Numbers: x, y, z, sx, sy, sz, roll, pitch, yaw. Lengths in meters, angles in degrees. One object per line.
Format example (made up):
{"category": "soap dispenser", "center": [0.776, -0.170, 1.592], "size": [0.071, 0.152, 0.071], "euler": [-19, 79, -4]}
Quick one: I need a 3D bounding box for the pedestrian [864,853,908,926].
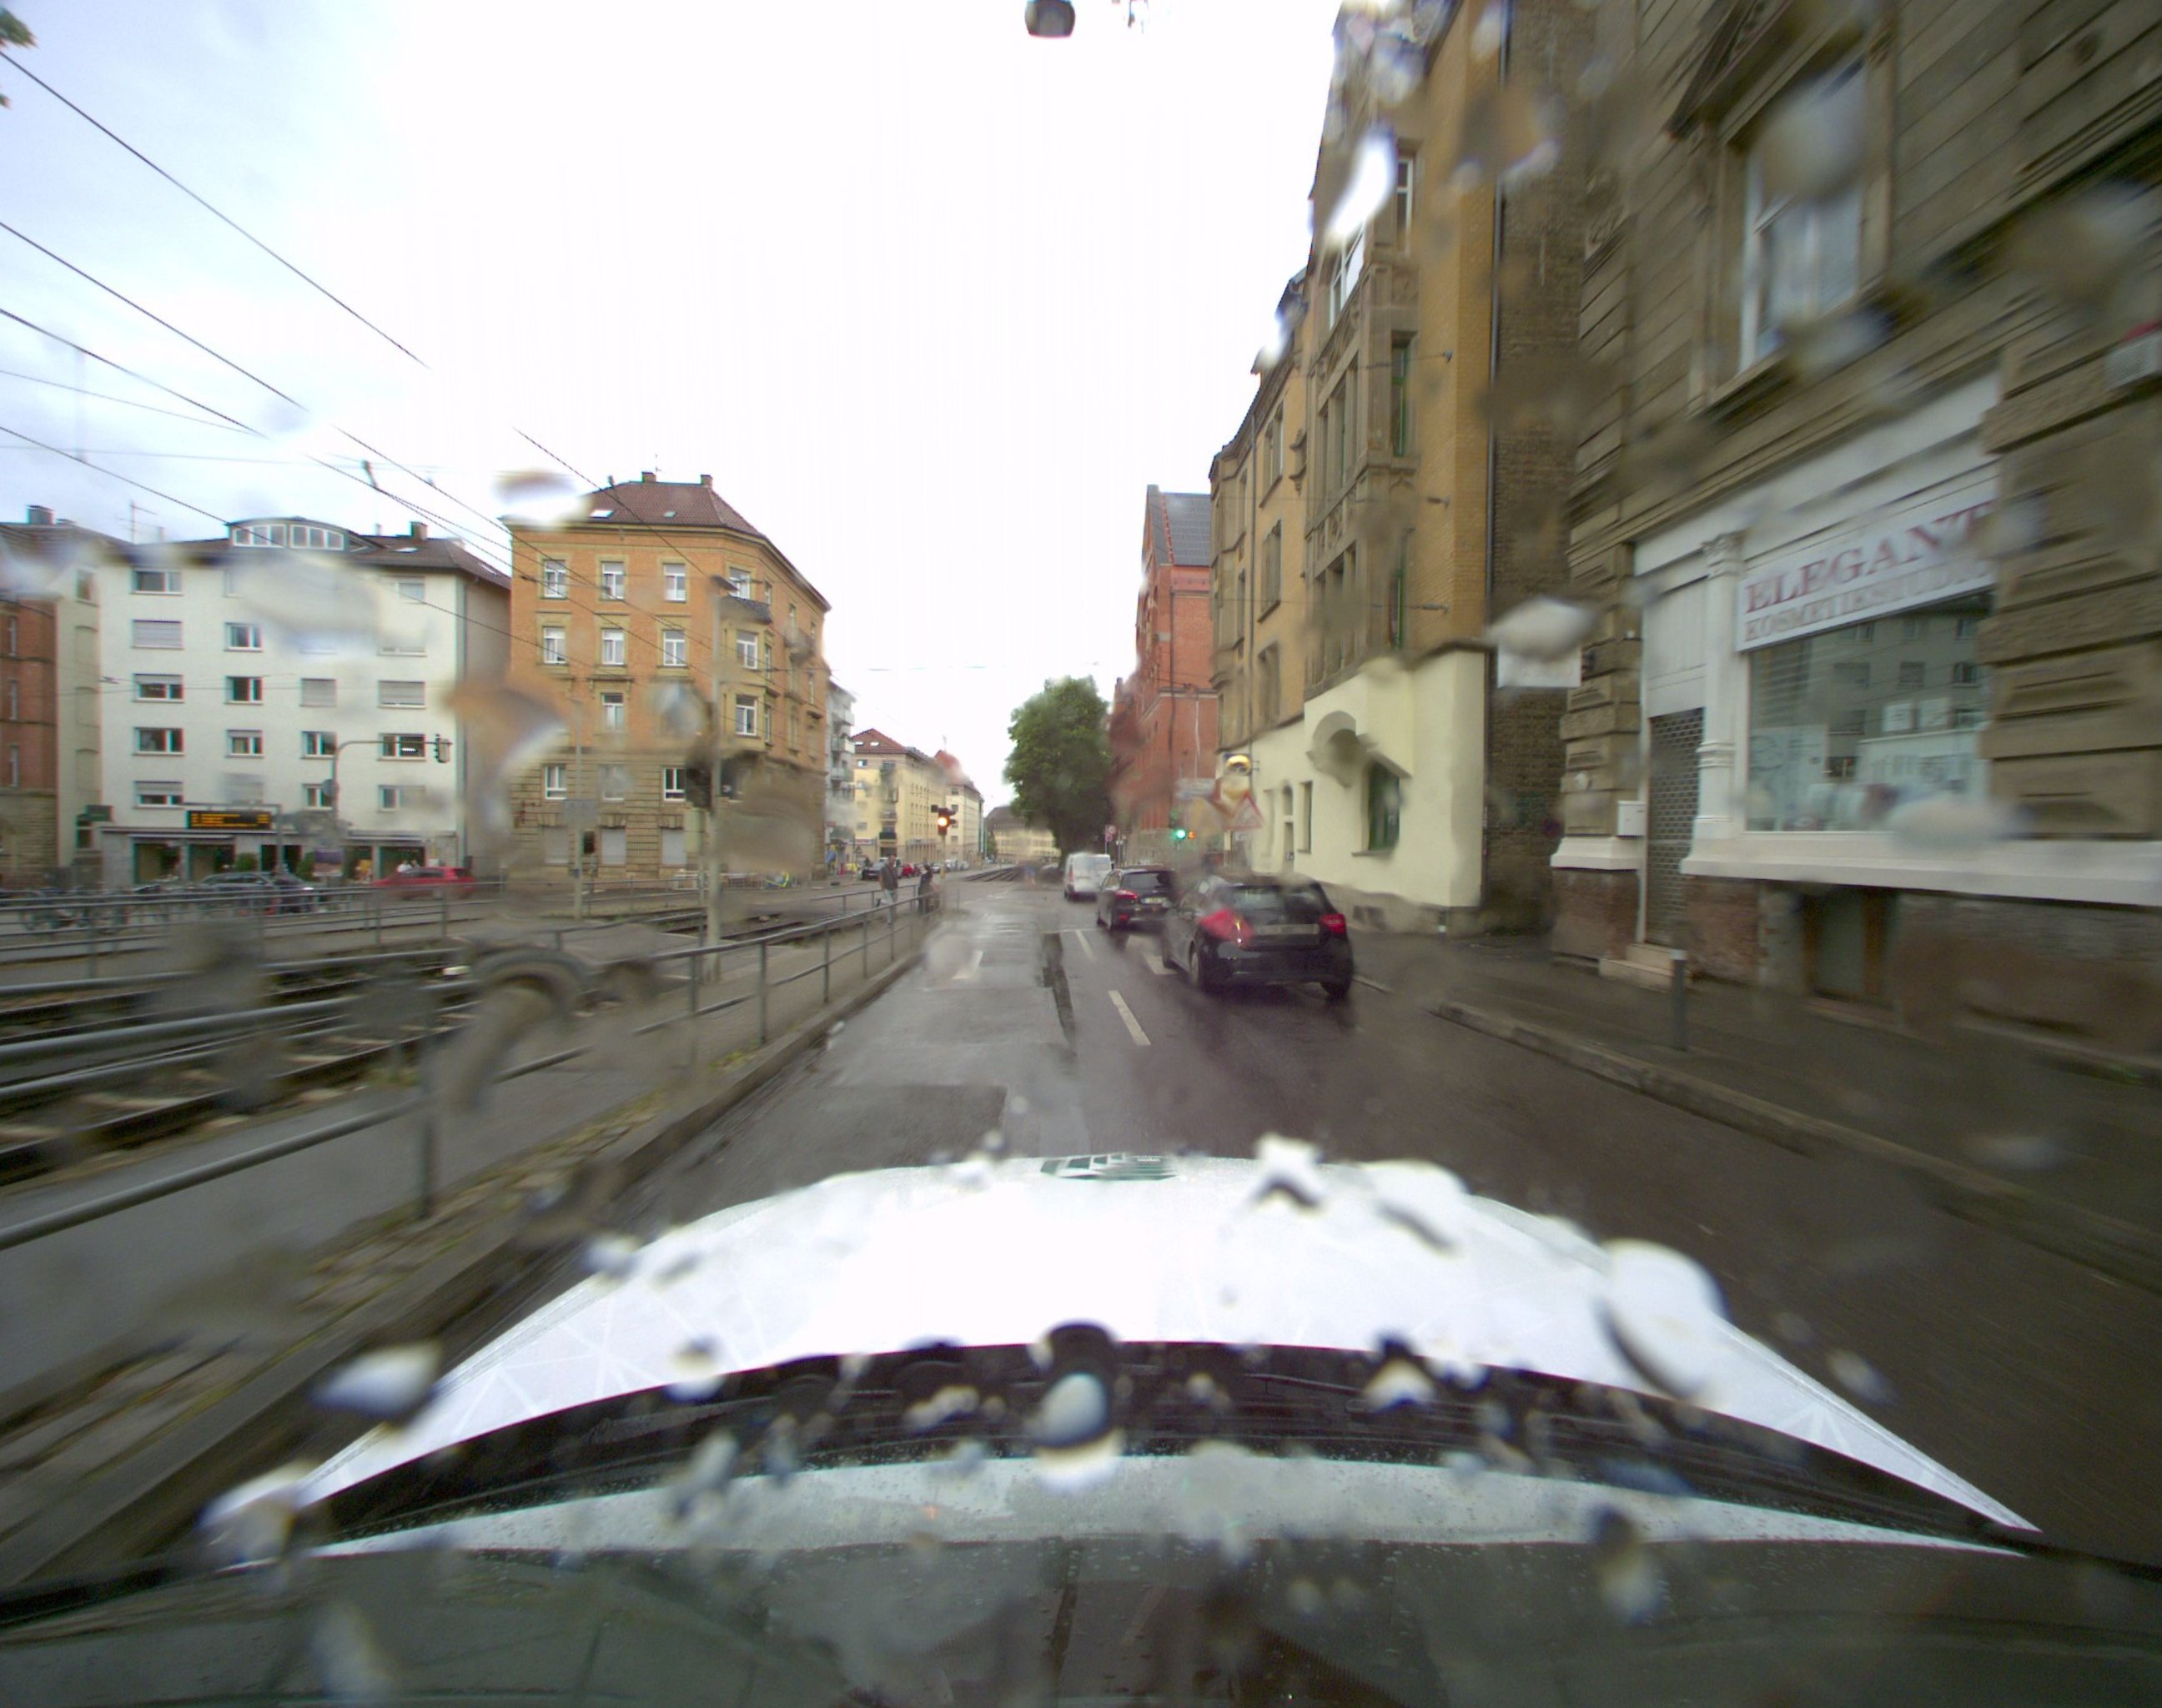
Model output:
{"category": "pedestrian", "center": [-4.732, 0.850, 19.745], "size": [0.732, 1.724, 0.745], "euler": [-1, -1, 44]}

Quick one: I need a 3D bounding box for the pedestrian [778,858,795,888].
{"category": "pedestrian", "center": [-16.317, 1.035, 45.084], "size": [0.675, 1.661, 0.677], "euler": [-1, -1, 4]}

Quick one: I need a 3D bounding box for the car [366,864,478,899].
{"category": "car", "center": [-29.880, 1.238, 37.033], "size": [3.595, 1.489, 1.682], "euler": [0, -1, -5]}

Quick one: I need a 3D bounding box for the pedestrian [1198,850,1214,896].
{"category": "pedestrian", "center": [3.484, 0.536, 22.704], "size": [0.411, 1.271, 0.292], "euler": [0, -1, 3]}

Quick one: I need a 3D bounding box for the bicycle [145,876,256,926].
{"category": "bicycle", "center": [-20.693, 1.094, 19.169], "size": [1.769, 1.142, 0.515], "euler": [0, -1, -14]}

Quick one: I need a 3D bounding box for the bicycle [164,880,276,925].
{"category": "bicycle", "center": [-20.932, 1.165, 19.835], "size": [1.873, 1.065, 0.515], "euler": [0, -1, -14]}

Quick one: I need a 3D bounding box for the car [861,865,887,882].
{"category": "car", "center": [-17.217, 1.642, 67.891], "size": [1.449, 1.318, 3.291], "euler": [1, 0, -3]}

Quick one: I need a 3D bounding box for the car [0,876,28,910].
{"category": "car", "center": [-50.033, 1.760, 36.570], "size": [3.153, 1.489, 1.419], "euler": [1, 0, -12]}

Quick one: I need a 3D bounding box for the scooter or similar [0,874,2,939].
{"category": "scooter or similar", "center": [-20.404, 0.967, 14.600], "size": [0.295, 1.195, 1.259], "euler": [0, -1, 37]}

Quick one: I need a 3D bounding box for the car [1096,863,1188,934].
{"category": "car", "center": [1.310, 0.950, 19.120], "size": [1.709, 1.469, 4.277], "euler": [0, -1, -2]}

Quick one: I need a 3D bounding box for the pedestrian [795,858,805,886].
{"category": "pedestrian", "center": [-16.573, 1.043, 48.011], "size": [0.519, 1.666, 0.474], "euler": [0, -1, -18]}

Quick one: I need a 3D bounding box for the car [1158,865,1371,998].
{"category": "car", "center": [2.140, 0.854, 10.643], "size": [1.889, 1.390, 3.999], "euler": [0, -1, 0]}

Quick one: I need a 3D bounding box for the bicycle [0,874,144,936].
{"category": "bicycle", "center": [-20.031, 0.996, 16.181], "size": [1.873, 1.195, 0.515], "euler": [0, -1, -14]}

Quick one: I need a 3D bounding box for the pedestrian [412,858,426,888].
{"category": "pedestrian", "center": [-35.065, 1.002, 43.141], "size": [0.520, 1.622, 0.480], "euler": [1, -1, -42]}

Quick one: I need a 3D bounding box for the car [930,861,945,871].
{"category": "car", "center": [-18.795, 1.561, 106.747], "size": [1.391, 1.171, 3.159], "euler": [0, -1, -2]}

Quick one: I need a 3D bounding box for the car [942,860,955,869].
{"category": "car", "center": [-19.196, 1.531, 118.019], "size": [1.391, 1.171, 3.159], "euler": [0, -1, -2]}

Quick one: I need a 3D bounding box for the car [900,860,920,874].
{"category": "car", "center": [-17.867, 1.357, 85.047], "size": [1.496, 1.356, 3.159], "euler": [0, -1, -2]}

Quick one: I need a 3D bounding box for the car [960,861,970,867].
{"category": "car", "center": [-20.151, 1.727, 141.742], "size": [1.391, 1.171, 3.159], "euler": [0, -1, -2]}

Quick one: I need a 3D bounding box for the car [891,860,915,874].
{"category": "car", "center": [-17.658, 1.285, 80.819], "size": [1.676, 1.356, 3.700], "euler": [0, -1, -2]}

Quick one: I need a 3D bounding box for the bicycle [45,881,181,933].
{"category": "bicycle", "center": [-20.351, 1.101, 17.162], "size": [1.873, 1.062, 0.515], "euler": [0, -1, -14]}

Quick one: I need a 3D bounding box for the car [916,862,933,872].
{"category": "car", "center": [-18.007, 1.504, 93.633], "size": [1.433, 1.106, 3.159], "euler": [0, -1, -2]}

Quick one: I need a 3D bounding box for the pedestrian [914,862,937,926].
{"category": "pedestrian", "center": [-3.765, 0.953, 19.698], "size": [0.531, 1.530, 0.435], "euler": [0, -1, -10]}

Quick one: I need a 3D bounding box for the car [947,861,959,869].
{"category": "car", "center": [-19.537, 1.677, 124.681], "size": [1.391, 1.171, 3.159], "euler": [0, -1, -2]}

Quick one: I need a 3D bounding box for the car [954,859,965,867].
{"category": "car", "center": [-19.988, 1.491, 133.678], "size": [1.391, 1.171, 3.159], "euler": [0, -1, -2]}

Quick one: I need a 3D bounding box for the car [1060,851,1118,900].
{"category": "car", "center": [0.254, 0.834, 32.962], "size": [1.930, 1.831, 4.273], "euler": [0, 0, -5]}

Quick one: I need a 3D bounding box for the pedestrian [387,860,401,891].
{"category": "pedestrian", "center": [-35.946, 1.121, 42.628], "size": [0.520, 1.622, 0.480], "euler": [1, -1, -42]}

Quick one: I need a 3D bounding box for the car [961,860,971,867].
{"category": "car", "center": [-20.639, 1.717, 146.210], "size": [1.391, 1.171, 3.159], "euler": [0, -1, -2]}

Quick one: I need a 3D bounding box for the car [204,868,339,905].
{"category": "car", "center": [-32.853, 1.291, 33.132], "size": [3.595, 1.403, 1.682], "euler": [0, -1, -5]}

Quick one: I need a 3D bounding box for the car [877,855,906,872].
{"category": "car", "center": [-17.256, 0.841, 74.337], "size": [1.781, 1.530, 4.459], "euler": [0, -1, -2]}

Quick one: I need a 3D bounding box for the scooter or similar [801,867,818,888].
{"category": "scooter or similar", "center": [-16.068, 1.386, 48.189], "size": [0.931, 1.163, 0.334], "euler": [0, 0, -18]}
